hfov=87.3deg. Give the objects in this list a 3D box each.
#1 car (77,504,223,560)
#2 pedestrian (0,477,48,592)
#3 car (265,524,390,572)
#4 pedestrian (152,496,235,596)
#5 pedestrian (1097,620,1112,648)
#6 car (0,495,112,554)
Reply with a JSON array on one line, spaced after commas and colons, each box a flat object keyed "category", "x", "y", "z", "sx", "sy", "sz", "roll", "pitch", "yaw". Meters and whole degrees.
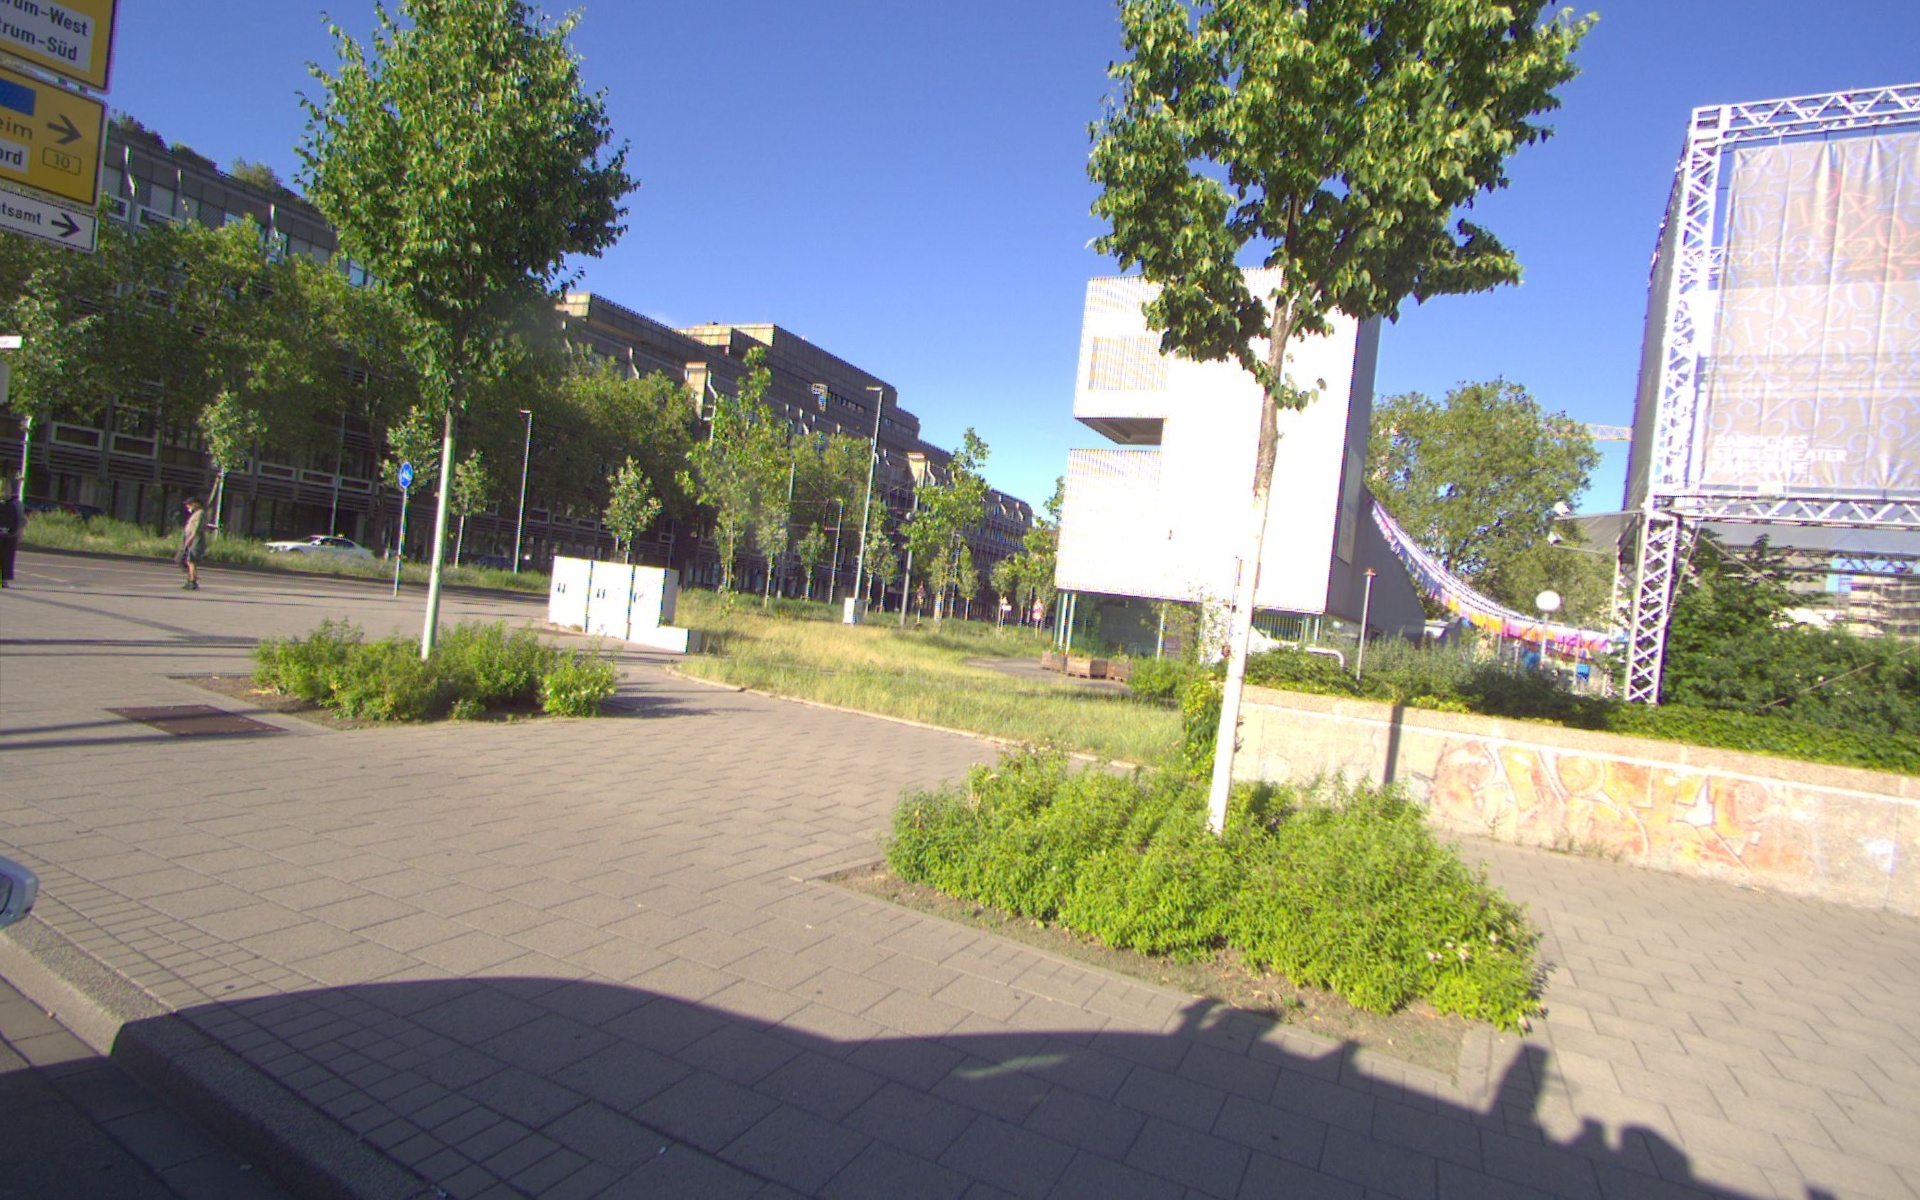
[{"category": "car", "x": -34.375, "y": -2.869, "z": 42.836, "sx": 1.794, "sy": 1.704, "sz": 4.412, "roll": 7, "pitch": -1, "yaw": 29}, {"category": "pedestrian", "x": -14.256, "y": -1.004, "z": 14.913, "sx": 0.859, "sy": 1.634, "sz": 0.767, "roll": 7, "pitch": 1, "yaw": 30}, {"category": "car", "x": -31.111, "y": -2.531, "z": 49.667, "sx": 1.794, "sy": 1.704, "sz": 4.854, "roll": 7, "pitch": -1, "yaw": 28}, {"category": "pedestrian", "x": -14.357, "y": -0.994, "z": 18.855, "sx": 0.755, "sy": 1.728, "sz": 0.873, "roll": 7, "pitch": 1, "yaw": 30}, {"category": "pedestrian", "x": 8.665, "y": 2.028, "z": 60.318, "sx": 0.520, "sy": 1.571, "sz": 0.638, "roll": 7, "pitch": -1, "yaw": 31}, {"category": "car", "x": -33.181, "y": -2.771, "z": 35.680, "sx": 1.792, "sy": 1.704, "sz": 4.302, "roll": 7, "pitch": -1, "yaw": 21}]
